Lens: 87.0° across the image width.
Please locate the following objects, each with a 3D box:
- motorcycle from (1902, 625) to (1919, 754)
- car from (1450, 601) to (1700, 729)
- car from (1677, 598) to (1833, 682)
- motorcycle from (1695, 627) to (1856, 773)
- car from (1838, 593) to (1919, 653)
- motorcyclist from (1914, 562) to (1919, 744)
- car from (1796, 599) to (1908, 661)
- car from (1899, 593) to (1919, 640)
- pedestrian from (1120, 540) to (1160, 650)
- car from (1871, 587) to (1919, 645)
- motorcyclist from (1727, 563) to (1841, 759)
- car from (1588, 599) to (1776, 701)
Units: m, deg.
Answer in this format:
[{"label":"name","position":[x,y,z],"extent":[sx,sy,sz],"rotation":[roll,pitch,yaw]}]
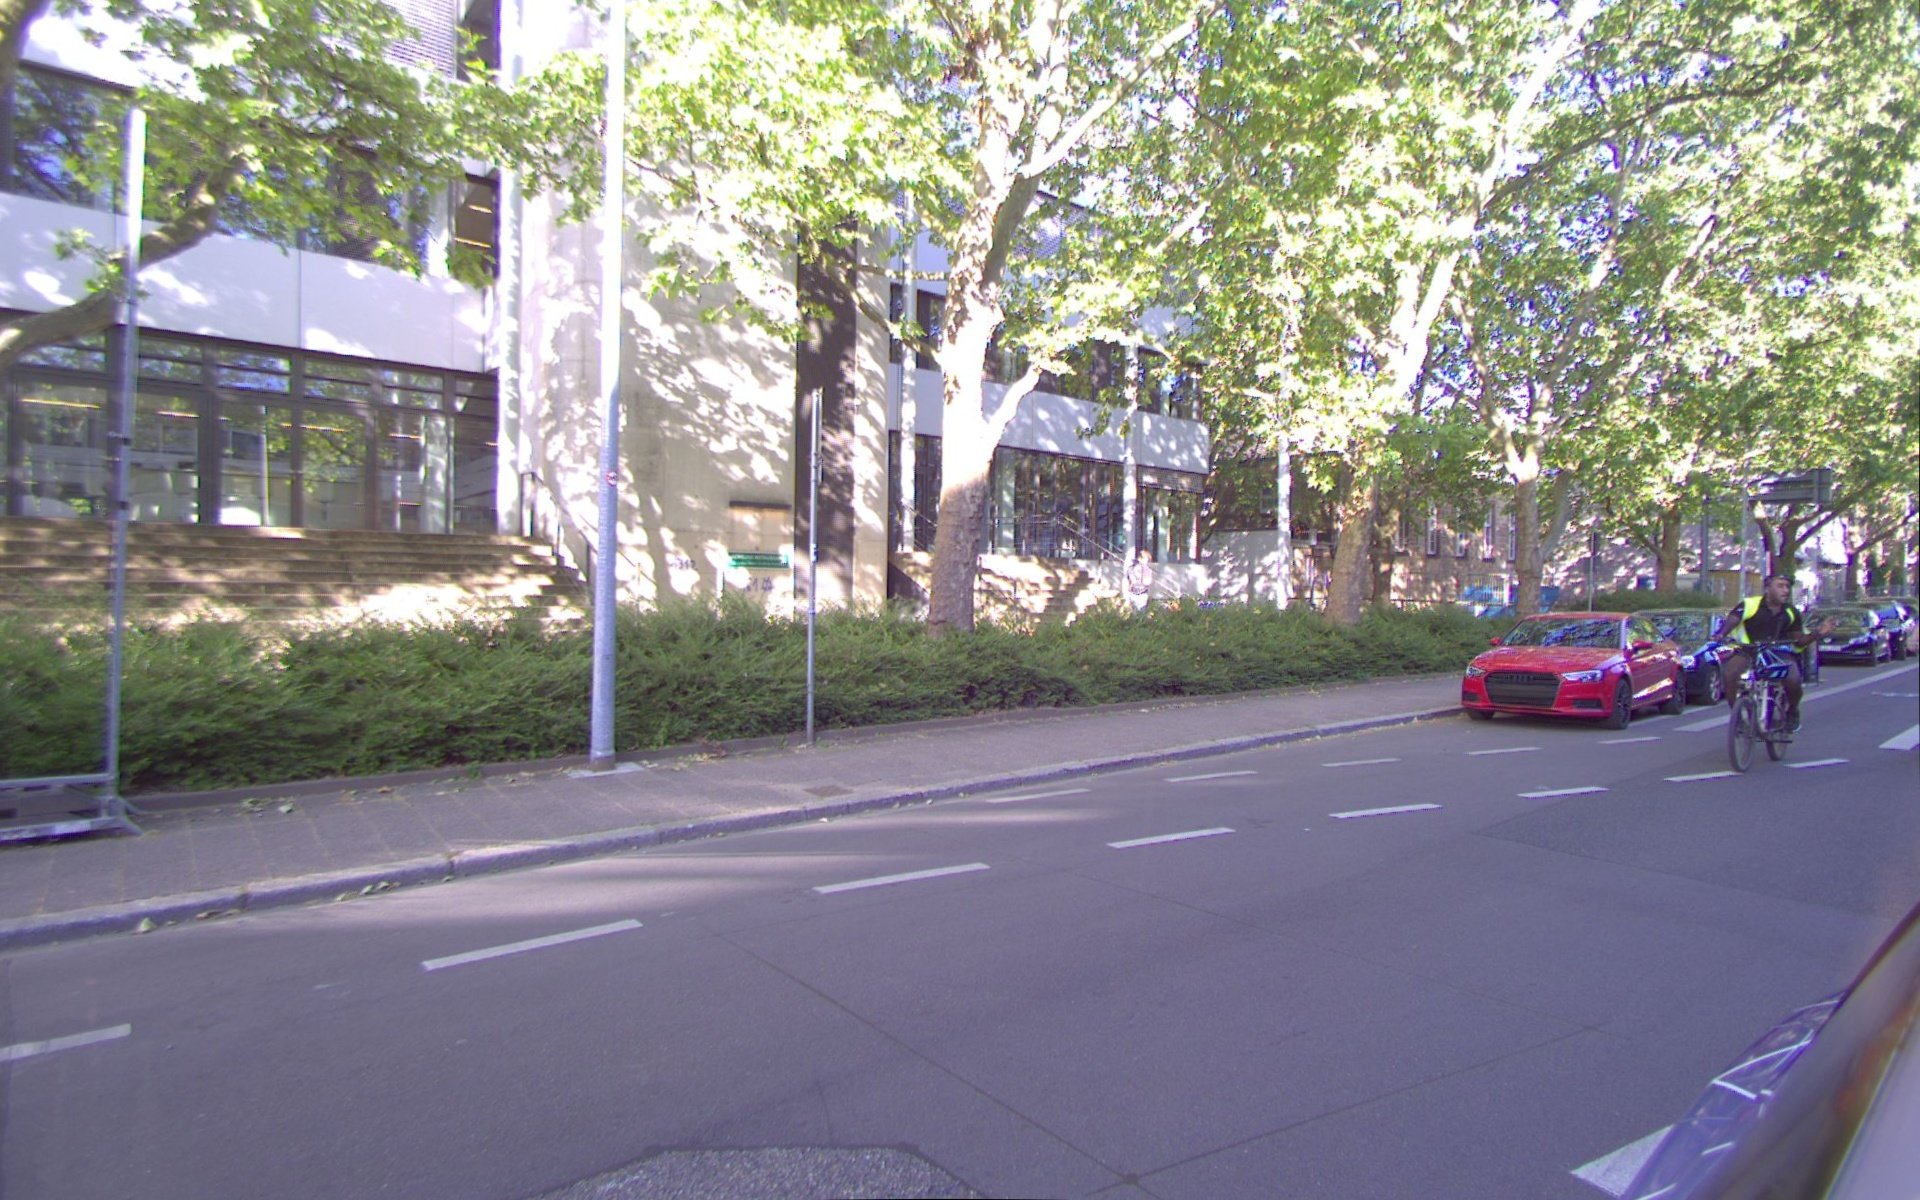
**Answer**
[{"label":"motorcycle","position":[9.971,0.854,9.930],"extent":[1.896,1.183,0.864],"rotation":[-1,0,-41]},{"label":"car","position":[8.293,0.736,13.515],"extent":[3.931,1.409,1.792],"rotation":[-1,0,-42]},{"label":"car","position":[15.736,0.708,19.971],"extent":[3.854,1.467,1.691],"rotation":[-1,0,-40]},{"label":"motorcycle","position":[7.695,0.864,9.505],"extent":[2.197,1.146,0.798],"rotation":[-1,0,-41]},{"label":"car","position":[26.626,0.604,29.043],"extent":[4.158,1.598,1.632],"rotation":[-1,0,-41]},{"label":"motorcyclist","position":[10.149,0.527,10.096],"extent":[0.897,1.811,0.832],"rotation":[0,0,-41]},{"label":"car","position":[22.940,0.711,25.986],"extent":[3.855,1.441,1.691],"rotation":[-1,0,-41]},{"label":"car","position":[35.528,0.572,36.783],"extent":[4.497,1.633,1.632],"rotation":[-1,0,-41]},{"label":"pedestrian","position":[3.424,-0.093,19.197],"extent":[0.549,2.039,0.555],"rotation":[0,0,38]},{"label":"car","position":[31.164,0.473,33.012],"extent":[4.497,1.814,1.632],"rotation":[-1,0,-41]},{"label":"motorcyclist","position":[7.842,0.545,9.630],"extent":[0.738,1.765,0.718],"rotation":[0,0,-41]},{"label":"car","position":[11.848,0.729,16.544],"extent":[3.632,1.436,1.668],"rotation":[-1,0,-40]}]
